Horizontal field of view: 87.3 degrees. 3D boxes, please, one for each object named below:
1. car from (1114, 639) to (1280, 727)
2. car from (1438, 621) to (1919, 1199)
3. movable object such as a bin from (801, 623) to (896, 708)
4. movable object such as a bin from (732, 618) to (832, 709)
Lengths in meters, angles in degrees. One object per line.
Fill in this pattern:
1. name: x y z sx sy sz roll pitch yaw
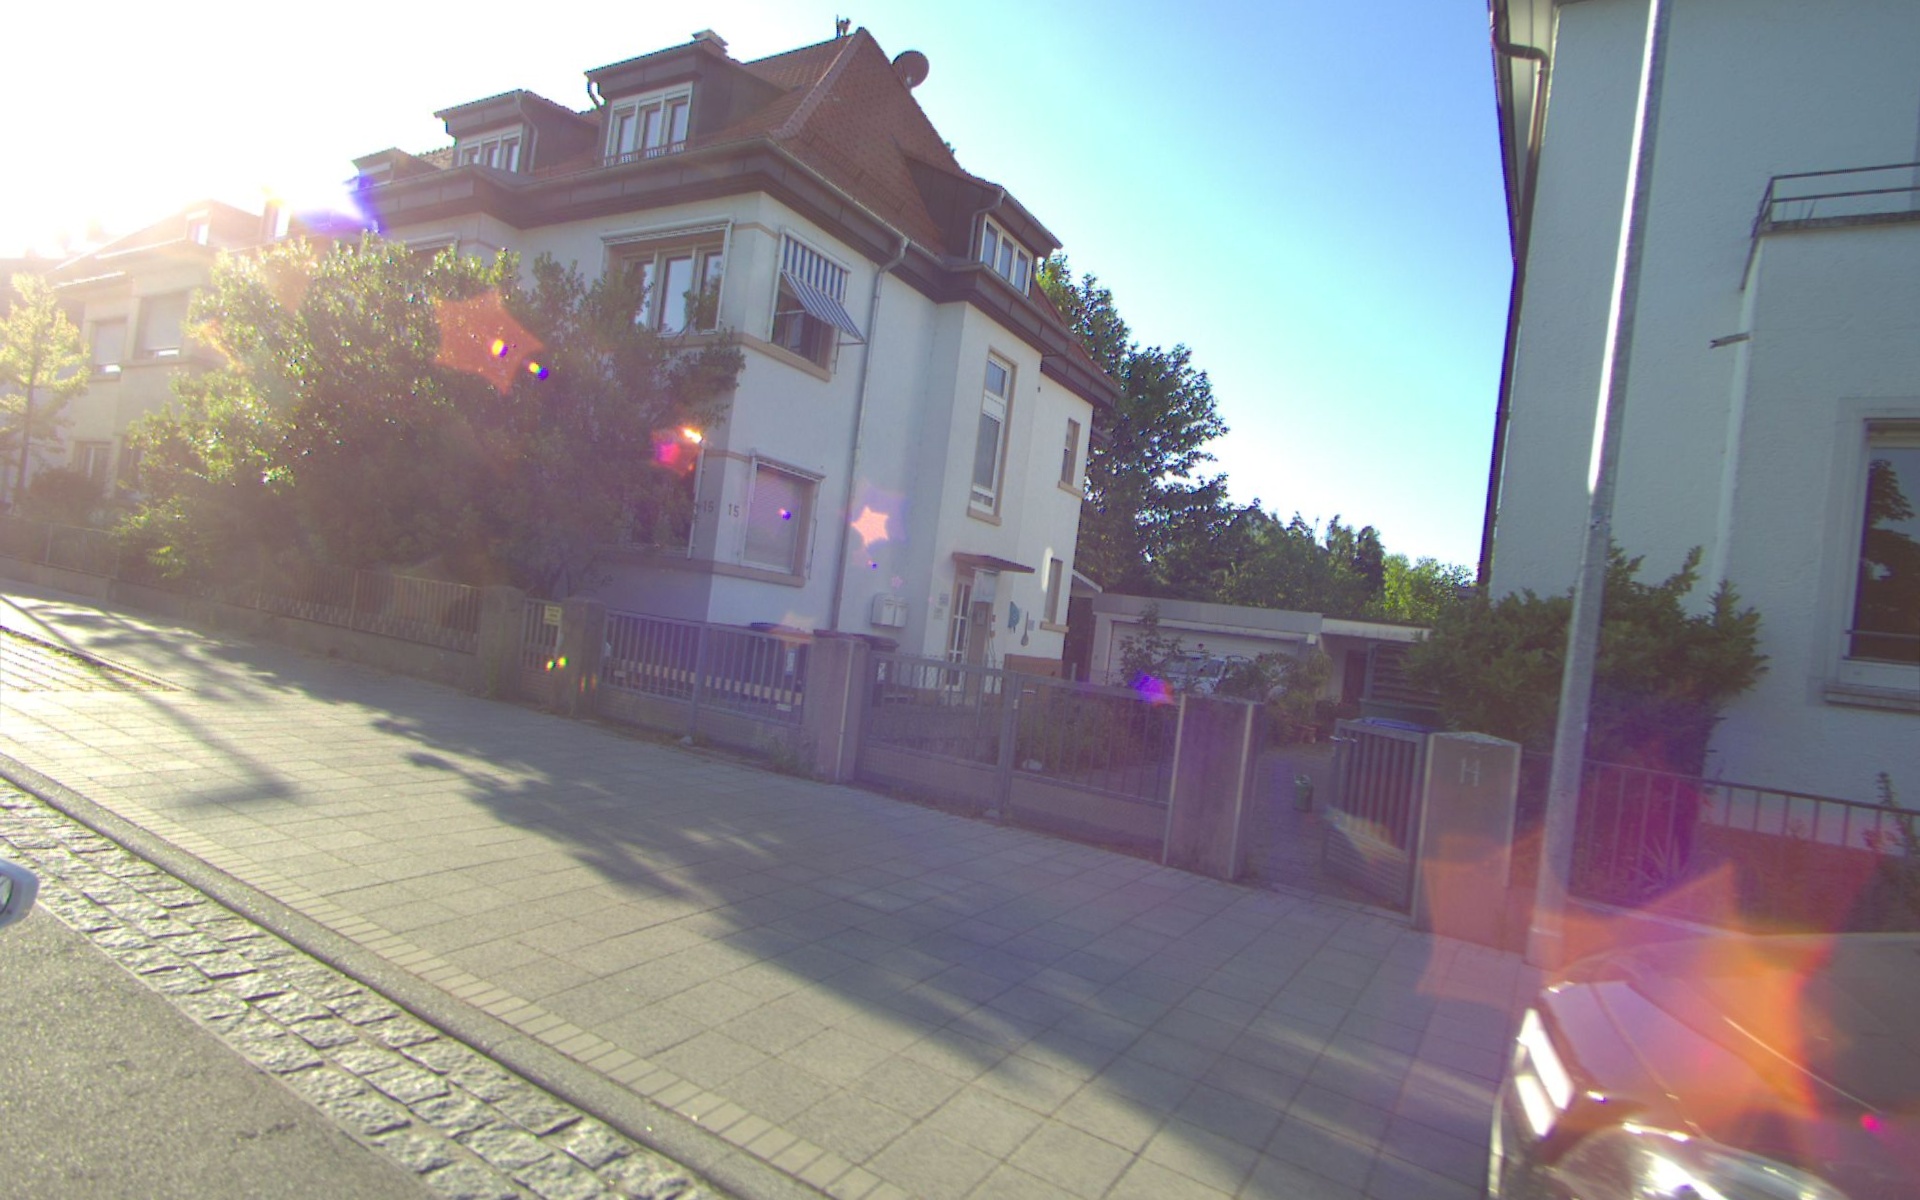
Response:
1. car: 5.127 1.813 21.408 1.845 1.525 4.148 6 -2 36
2. car: 3.149 1.103 1.377 4.342 1.707 1.833 6 1 32
3. movable object such as a bin: -1.667 0.994 15.110 0.777 1.112 1.086 6 -3 35
4. movable object such as a bin: -2.481 0.896 14.062 0.777 1.112 0.986 6 -3 35
